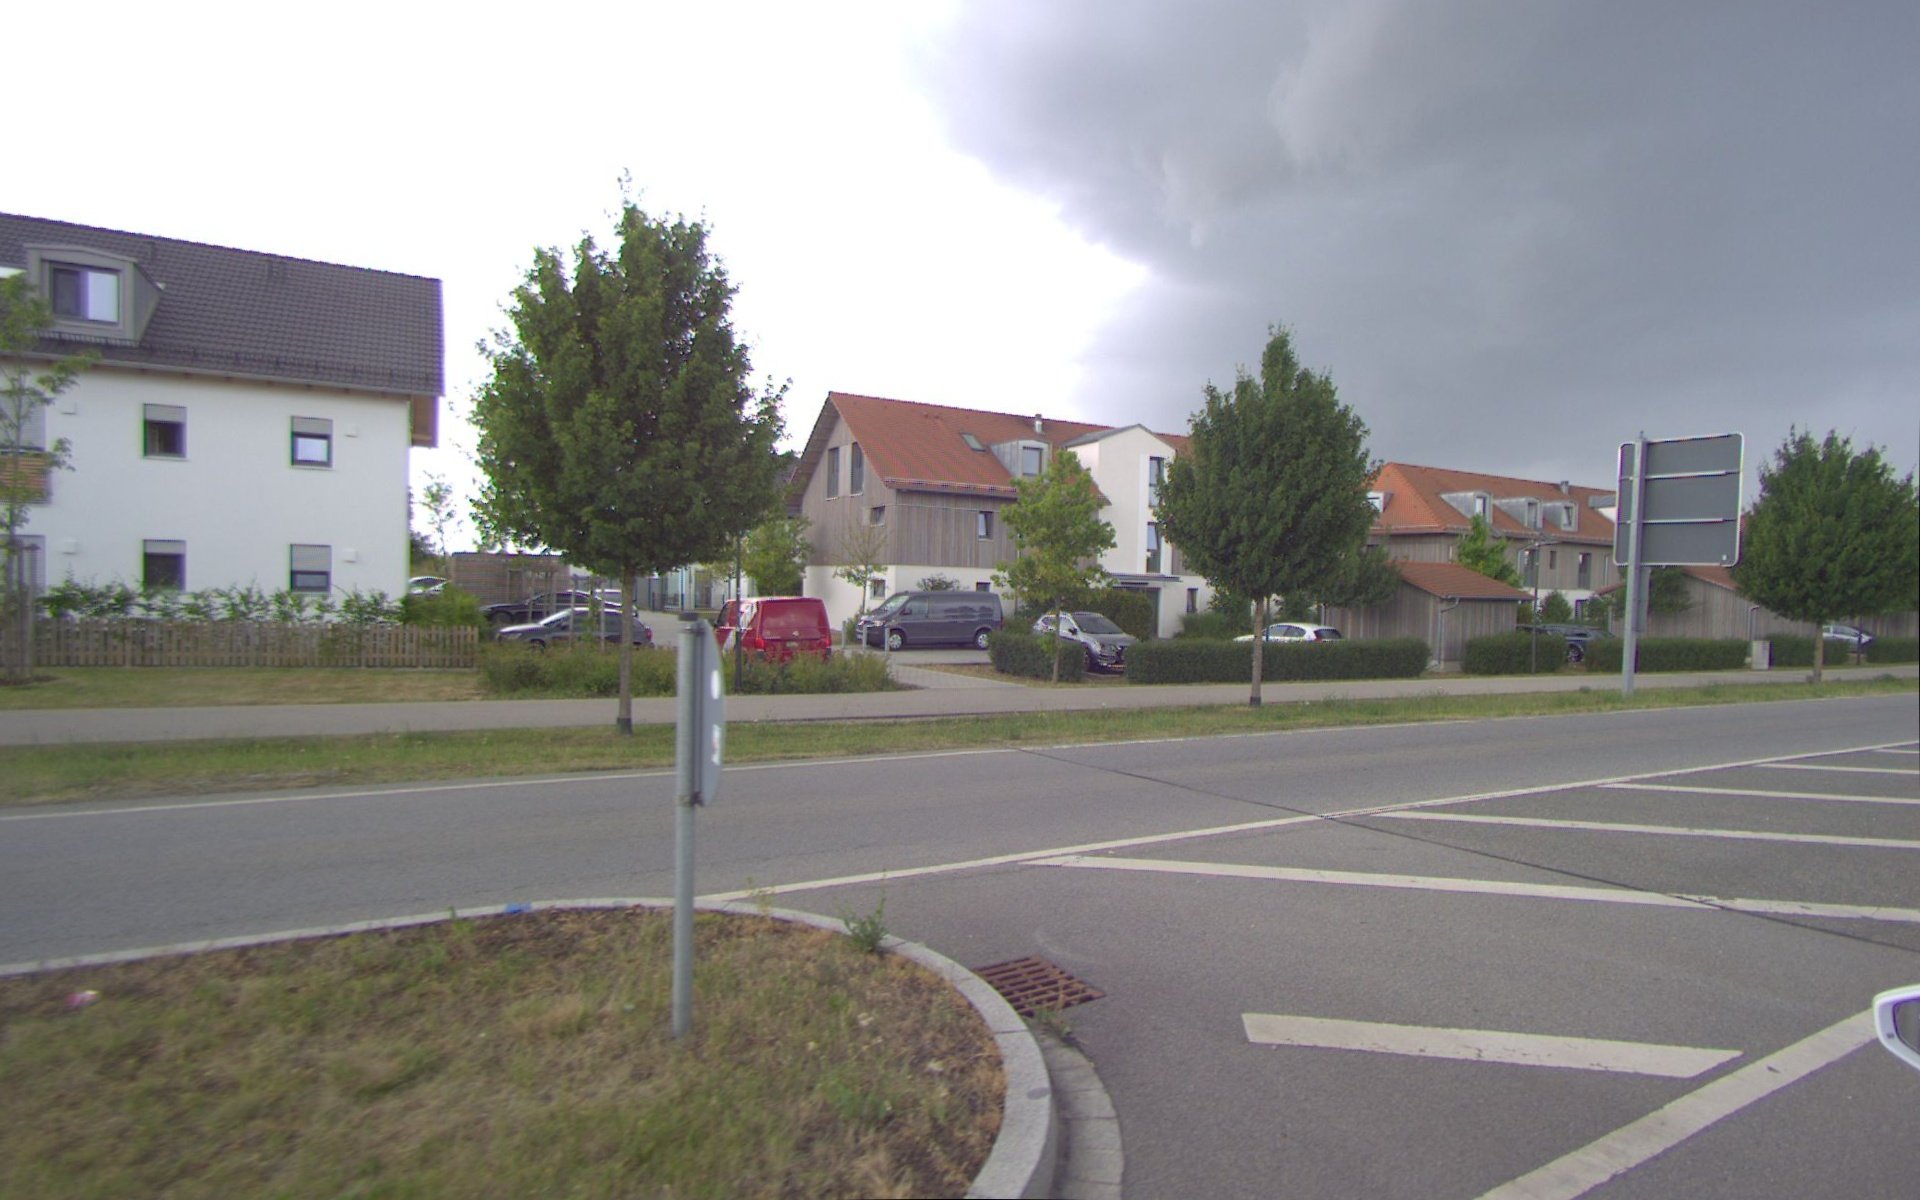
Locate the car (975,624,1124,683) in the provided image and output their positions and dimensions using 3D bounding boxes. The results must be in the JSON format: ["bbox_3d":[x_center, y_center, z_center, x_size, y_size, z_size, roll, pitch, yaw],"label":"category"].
[{"bbox_3d":[2.425,1.446,28.670,1.882,1.449,4.885,1,-1,-28],"label":"car"}]

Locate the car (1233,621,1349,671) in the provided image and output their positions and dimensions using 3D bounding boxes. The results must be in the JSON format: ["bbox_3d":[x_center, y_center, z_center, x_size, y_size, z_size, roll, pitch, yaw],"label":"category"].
[{"bbox_3d":[10.831,1.473,33.085,1.545,1.509,3.498,1,0,-30],"label":"car"}]

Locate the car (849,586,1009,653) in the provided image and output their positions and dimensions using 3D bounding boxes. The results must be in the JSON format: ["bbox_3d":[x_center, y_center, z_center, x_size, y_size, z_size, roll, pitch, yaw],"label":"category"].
[{"bbox_3d":[-1.061,0.655,34.652,5.134,2.041,1.985,1,4,-28],"label":"car"}]

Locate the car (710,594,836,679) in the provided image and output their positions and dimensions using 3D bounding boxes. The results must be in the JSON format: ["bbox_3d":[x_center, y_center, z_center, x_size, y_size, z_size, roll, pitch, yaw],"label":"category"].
[{"bbox_3d":[-4.619,0.804,24.196,1.880,1.840,4.892,1,0,-24],"label":"car"}]

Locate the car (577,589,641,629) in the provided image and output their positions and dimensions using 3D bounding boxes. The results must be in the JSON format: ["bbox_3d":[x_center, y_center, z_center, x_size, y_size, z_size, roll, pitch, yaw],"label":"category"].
[{"bbox_3d":[-14.819,0.378,42.310,1.975,1.607,3.971,1,-1,-27],"label":"car"}]

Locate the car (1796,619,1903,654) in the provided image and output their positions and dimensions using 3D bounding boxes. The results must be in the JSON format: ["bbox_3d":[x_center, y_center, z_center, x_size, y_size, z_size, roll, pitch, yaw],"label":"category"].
[{"bbox_3d":[48.885,1.981,55.281,1.975,1.577,3.970,1,2,-28],"label":"car"}]

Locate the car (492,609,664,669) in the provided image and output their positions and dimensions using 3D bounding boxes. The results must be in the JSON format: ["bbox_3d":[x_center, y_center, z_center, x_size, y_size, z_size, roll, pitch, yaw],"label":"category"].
[{"bbox_3d":[-9.955,0.983,26.211,3.953,1.439,1.866,1,0,-30],"label":"car"}]

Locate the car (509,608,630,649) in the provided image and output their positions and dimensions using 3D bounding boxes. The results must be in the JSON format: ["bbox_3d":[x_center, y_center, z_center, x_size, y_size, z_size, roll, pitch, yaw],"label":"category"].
[{"bbox_3d":[-14.437,1.034,37.207,3.953,1.439,1.866,1,0,-30],"label":"car"}]

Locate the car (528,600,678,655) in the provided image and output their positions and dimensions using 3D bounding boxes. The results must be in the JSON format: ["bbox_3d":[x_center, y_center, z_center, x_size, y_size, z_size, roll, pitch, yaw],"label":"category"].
[{"bbox_3d":[-10.708,0.807,30.128,3.953,1.528,1.984,1,0,-30],"label":"car"}]

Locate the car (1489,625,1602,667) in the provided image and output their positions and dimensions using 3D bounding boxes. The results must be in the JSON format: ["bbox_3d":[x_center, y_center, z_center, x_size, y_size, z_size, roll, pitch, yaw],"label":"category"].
[{"bbox_3d":[22.750,1.754,39.140,1.545,1.509,3.498,1,0,-30],"label":"car"}]
